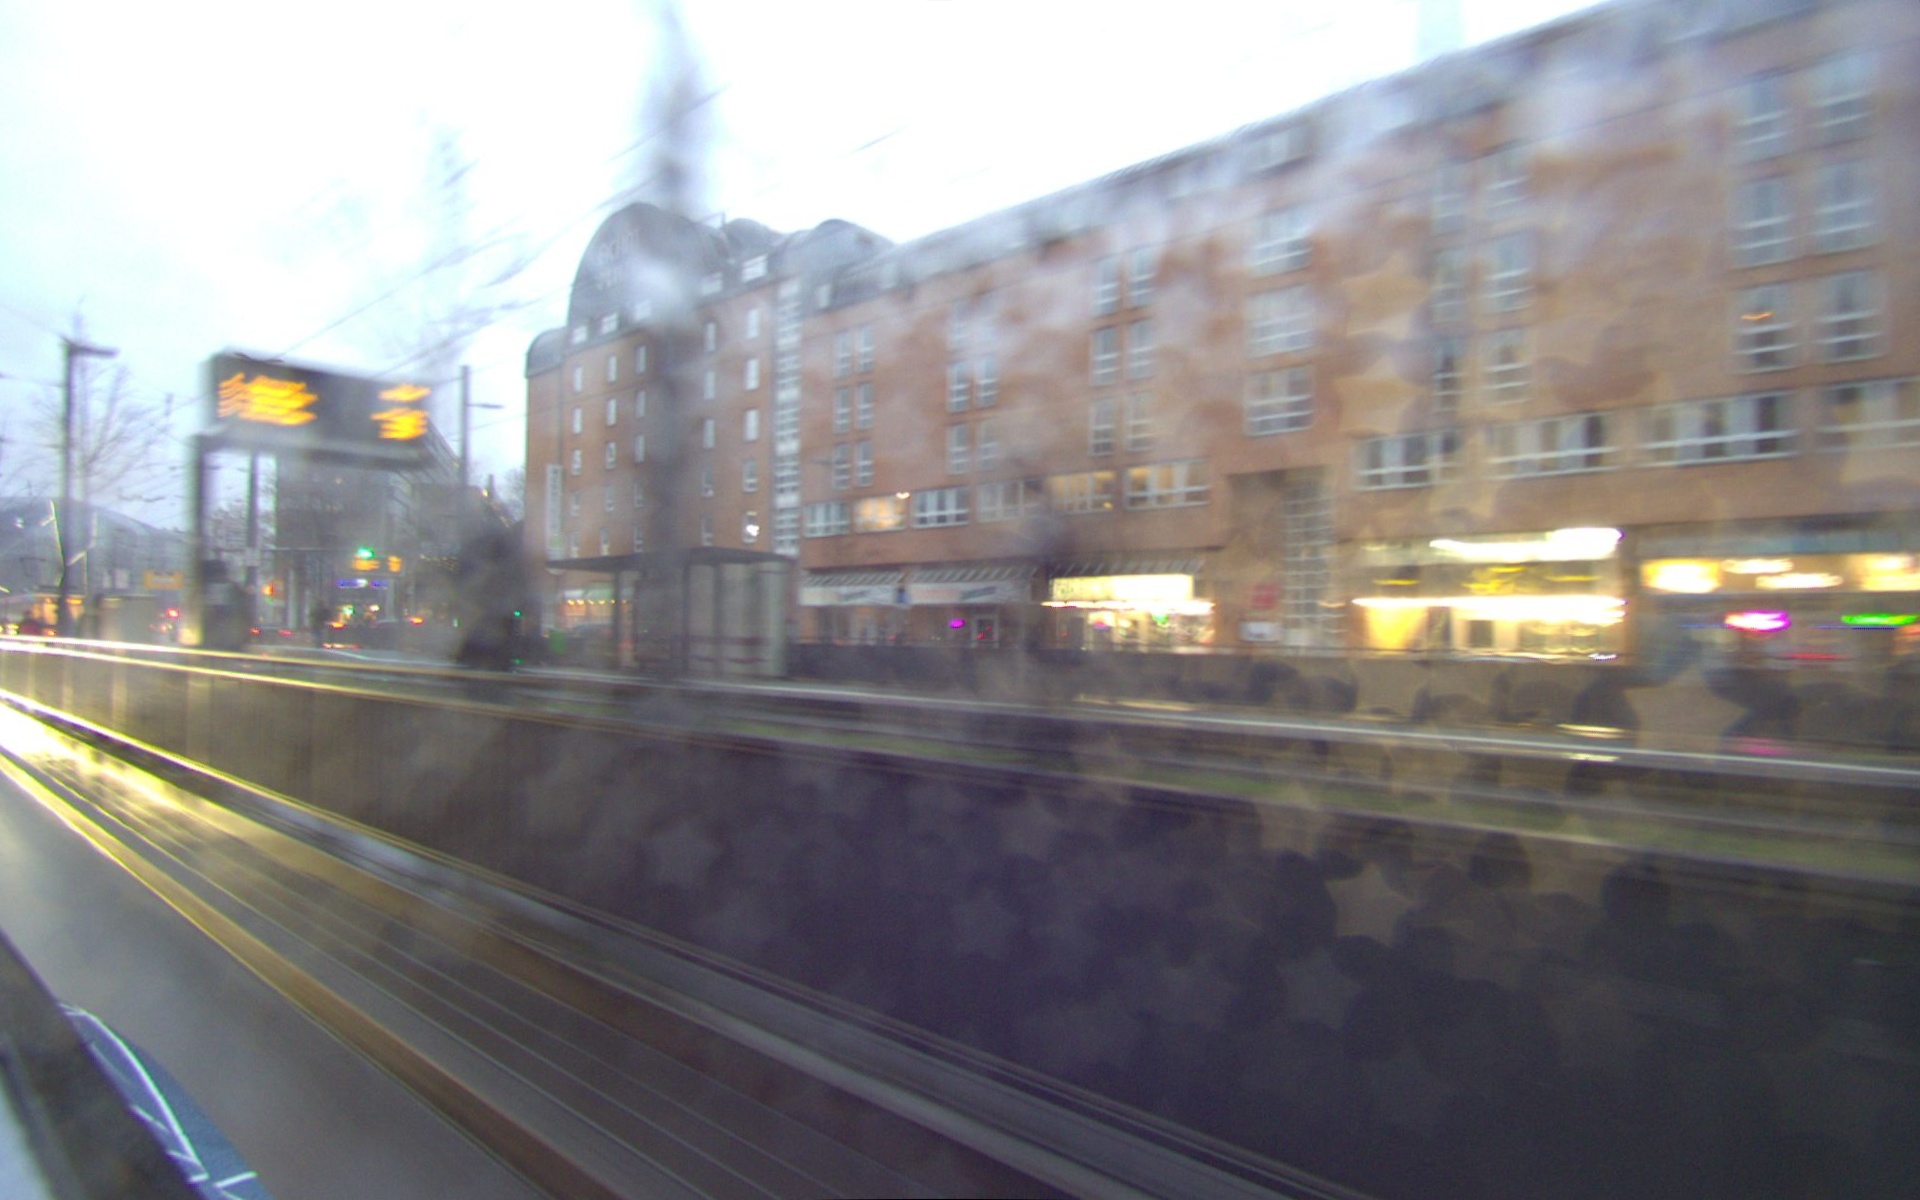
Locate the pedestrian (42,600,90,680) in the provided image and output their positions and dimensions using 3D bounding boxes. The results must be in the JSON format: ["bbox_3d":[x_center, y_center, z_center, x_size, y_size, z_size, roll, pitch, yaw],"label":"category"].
[{"bbox_3d":[-18.384,0.820,20.812,0.621,1.602,0.612,-1,-2,38],"label":"pedestrian"}]

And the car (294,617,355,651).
[{"bbox_3d":[-29.810,1.580,47.474,3.323,1.528,1.502,-1,-1,40],"label":"car"}]

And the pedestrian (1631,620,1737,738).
[{"bbox_3d":[7.135,0.762,9.998,0.584,1.111,0.608,-1,-1,2],"label":"pedestrian"}]

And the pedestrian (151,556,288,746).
[{"bbox_3d":[-7.080,0.472,9.696,0.768,1.717,0.773,-1,-1,23],"label":"pedestrian"}]

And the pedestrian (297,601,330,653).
[{"bbox_3d":[-23.962,0.993,37.519,0.882,1.901,0.784,-1,-2,38],"label":"pedestrian"}]

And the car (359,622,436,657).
[{"bbox_3d":[-23.351,1.612,41.981,3.543,1.364,1.665,-1,-1,40],"label":"car"}]

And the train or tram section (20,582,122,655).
[{"bbox_3d":[-48.425,0.996,54.977,11.031,3.595,2.869,-1,-1,42],"label":"train or tram section"}]

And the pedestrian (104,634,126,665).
[{"bbox_3d":[-32.028,1.870,38.357,0.490,1.161,0.574,-1,-1,42],"label":"pedestrian"}]

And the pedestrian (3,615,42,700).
[{"bbox_3d":[-18.876,1.146,20.379,0.562,1.691,0.476,-1,-2,38],"label":"pedestrian"}]

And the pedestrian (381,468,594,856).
[{"bbox_3d":[-2.539,0.319,5.540,0.792,1.962,0.813,0,-2,-3],"label":"pedestrian"}]

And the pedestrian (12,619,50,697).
[{"bbox_3d":[-19.314,1.193,21.043,0.562,1.602,0.476,-1,-2,38],"label":"pedestrian"}]

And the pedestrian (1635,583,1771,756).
[{"bbox_3d":[6.866,0.623,9.383,0.745,1.536,0.636,-1,-1,-1],"label":"pedestrian"}]

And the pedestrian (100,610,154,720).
[{"bbox_3d":[-13.347,1.025,16.216,0.643,1.705,0.534,-1,-2,38],"label":"pedestrian"}]

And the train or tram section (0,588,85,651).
[{"bbox_3d":[-56.697,1.178,62.265,11.031,3.605,2.894,-1,-1,42],"label":"train or tram section"}]

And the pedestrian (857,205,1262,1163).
[{"bbox_3d":[0.277,0.188,2.824,0.804,2.126,0.801,-2,-2,41],"label":"pedestrian"}]

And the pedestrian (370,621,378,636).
[{"bbox_3d":[-68.691,3.366,118.596,0.715,1.721,0.696,2,-3,-30],"label":"pedestrian"}]
